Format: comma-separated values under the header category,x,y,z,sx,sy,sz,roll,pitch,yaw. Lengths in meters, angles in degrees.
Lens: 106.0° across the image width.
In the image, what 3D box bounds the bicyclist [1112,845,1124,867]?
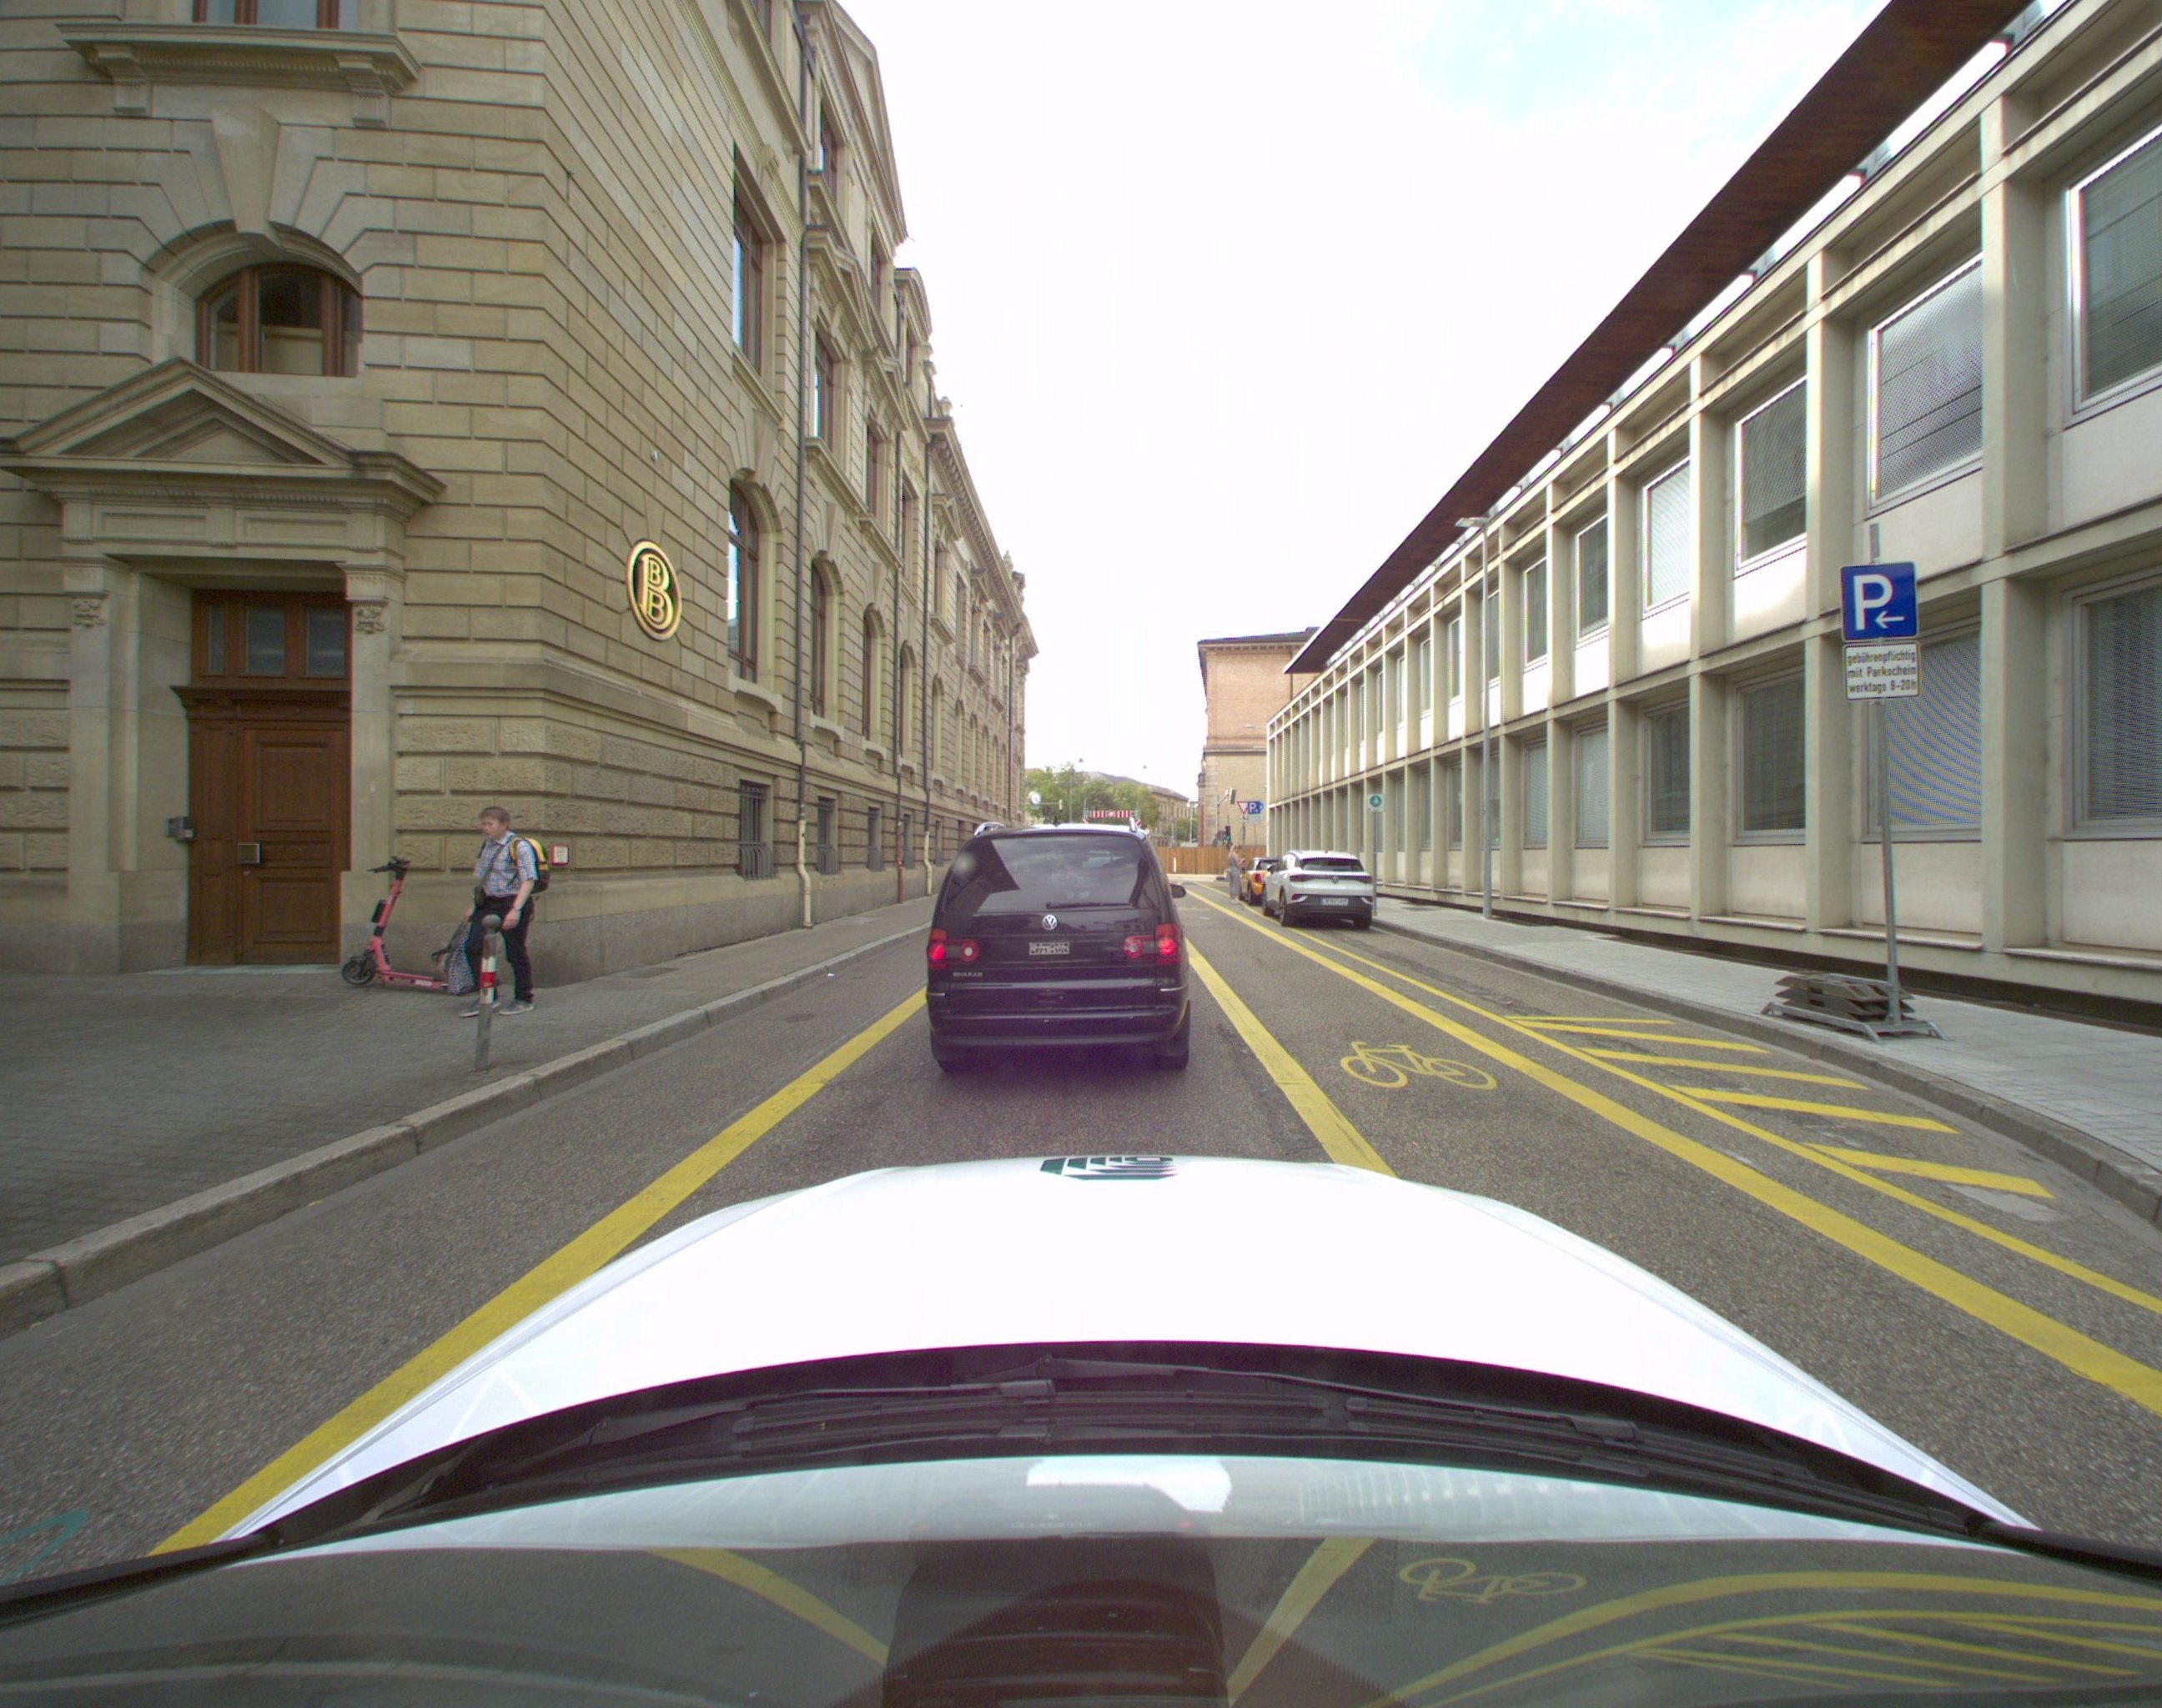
category,x,y,z,sx,sy,sz,roll,pitch,yaw
bicyclist,2.494,0.167,55.000,0.734,1.470,0.807,0,-1,-6

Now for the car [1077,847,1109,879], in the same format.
category,x,y,z,sx,sy,sz,roll,pitch,yaw
car,0.655,0.527,47.412,1.729,1.790,4.101,0,0,-1

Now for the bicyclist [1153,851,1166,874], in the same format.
category,x,y,z,sx,sy,sz,roll,pitch,yaw
bicyclist,4.774,0.514,49.497,0.732,1.375,0.832,0,-1,1

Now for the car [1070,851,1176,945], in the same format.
category,x,y,z,sx,sy,sz,roll,pitch,yaw
car,0.836,0.702,14.903,1.670,1.469,4.108,0,0,5

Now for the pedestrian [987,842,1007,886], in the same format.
category,x,y,z,sx,sy,sz,roll,pitch,yaw
pedestrian,-3.497,0.408,34.040,0.661,1.819,1.048,1,-1,2

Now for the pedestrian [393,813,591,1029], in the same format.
category,x,y,z,sx,sy,sz,roll,pitch,yaw
pedestrian,-5.020,0.545,7.011,1.022,1.720,0.819,2,-1,1

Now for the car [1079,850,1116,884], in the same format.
category,x,y,z,sx,sy,sz,roll,pitch,yaw
car,0.836,0.640,40.397,1.766,1.586,4.001,0,-1,2

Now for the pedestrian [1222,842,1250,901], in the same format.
category,x,y,z,sx,sy,sz,roll,pitch,yaw
pedestrian,4.681,0.528,24.623,0.695,1.764,0.706,0,-1,1

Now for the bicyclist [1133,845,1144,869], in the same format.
category,x,y,z,sx,sy,sz,roll,pitch,yaw
bicyclist,3.796,0.216,53.839,0.732,1.555,0.896,0,-1,1

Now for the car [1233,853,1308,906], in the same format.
category,x,y,z,sx,sy,sz,roll,pitch,yaw
car,5.752,0.741,25.140,1.672,1.435,3.891,3,0,5

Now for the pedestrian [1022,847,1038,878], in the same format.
category,x,y,z,sx,sy,sz,roll,pitch,yaw
pedestrian,-2.991,0.494,47.754,0.789,1.819,1.048,1,-1,2

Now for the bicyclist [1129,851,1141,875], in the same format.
category,x,y,z,sx,sy,sz,roll,pitch,yaw
bicyclist,3.253,0.537,49.050,0.732,1.377,0.829,0,-1,1

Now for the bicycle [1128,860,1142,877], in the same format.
category,x,y,z,sx,sy,sz,roll,pitch,yaw
bicycle,3.251,0.883,49.041,0.732,1.009,2.069,0,-1,2

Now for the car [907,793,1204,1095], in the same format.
category,x,y,z,sx,sy,sz,roll,pitch,yaw
car,0.008,0.545,6.934,1.781,1.790,4.108,0,0,5

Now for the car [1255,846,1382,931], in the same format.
category,x,y,z,sx,sy,sz,roll,pitch,yaw
car,5.228,0.706,18.526,1.851,1.605,4.518,3,0,5

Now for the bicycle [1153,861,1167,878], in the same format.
category,x,y,z,sx,sy,sz,roll,pitch,yaw
bicycle,4.775,0.929,49.508,0.732,1.009,2.069,0,-1,2

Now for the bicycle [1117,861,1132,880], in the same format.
category,x,y,z,sx,sy,sz,roll,pitch,yaw
bicycle,2.262,0.850,42.871,0.732,1.009,2.069,0,-1,2

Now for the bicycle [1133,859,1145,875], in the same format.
category,x,y,z,sx,sy,sz,roll,pitch,yaw
bicycle,3.826,0.851,53.891,0.732,1.009,2.069,0,-1,2

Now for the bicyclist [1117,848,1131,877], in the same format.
category,x,y,z,sx,sy,sz,roll,pitch,yaw
bicyclist,2.258,0.439,42.833,0.732,1.478,0.885,0,-1,1

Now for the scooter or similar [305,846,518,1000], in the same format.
category,x,y,z,sx,sy,sz,roll,pitch,yaw
scooter or similar,-6.184,0.614,7.567,1.441,1.310,0.587,3,1,0
